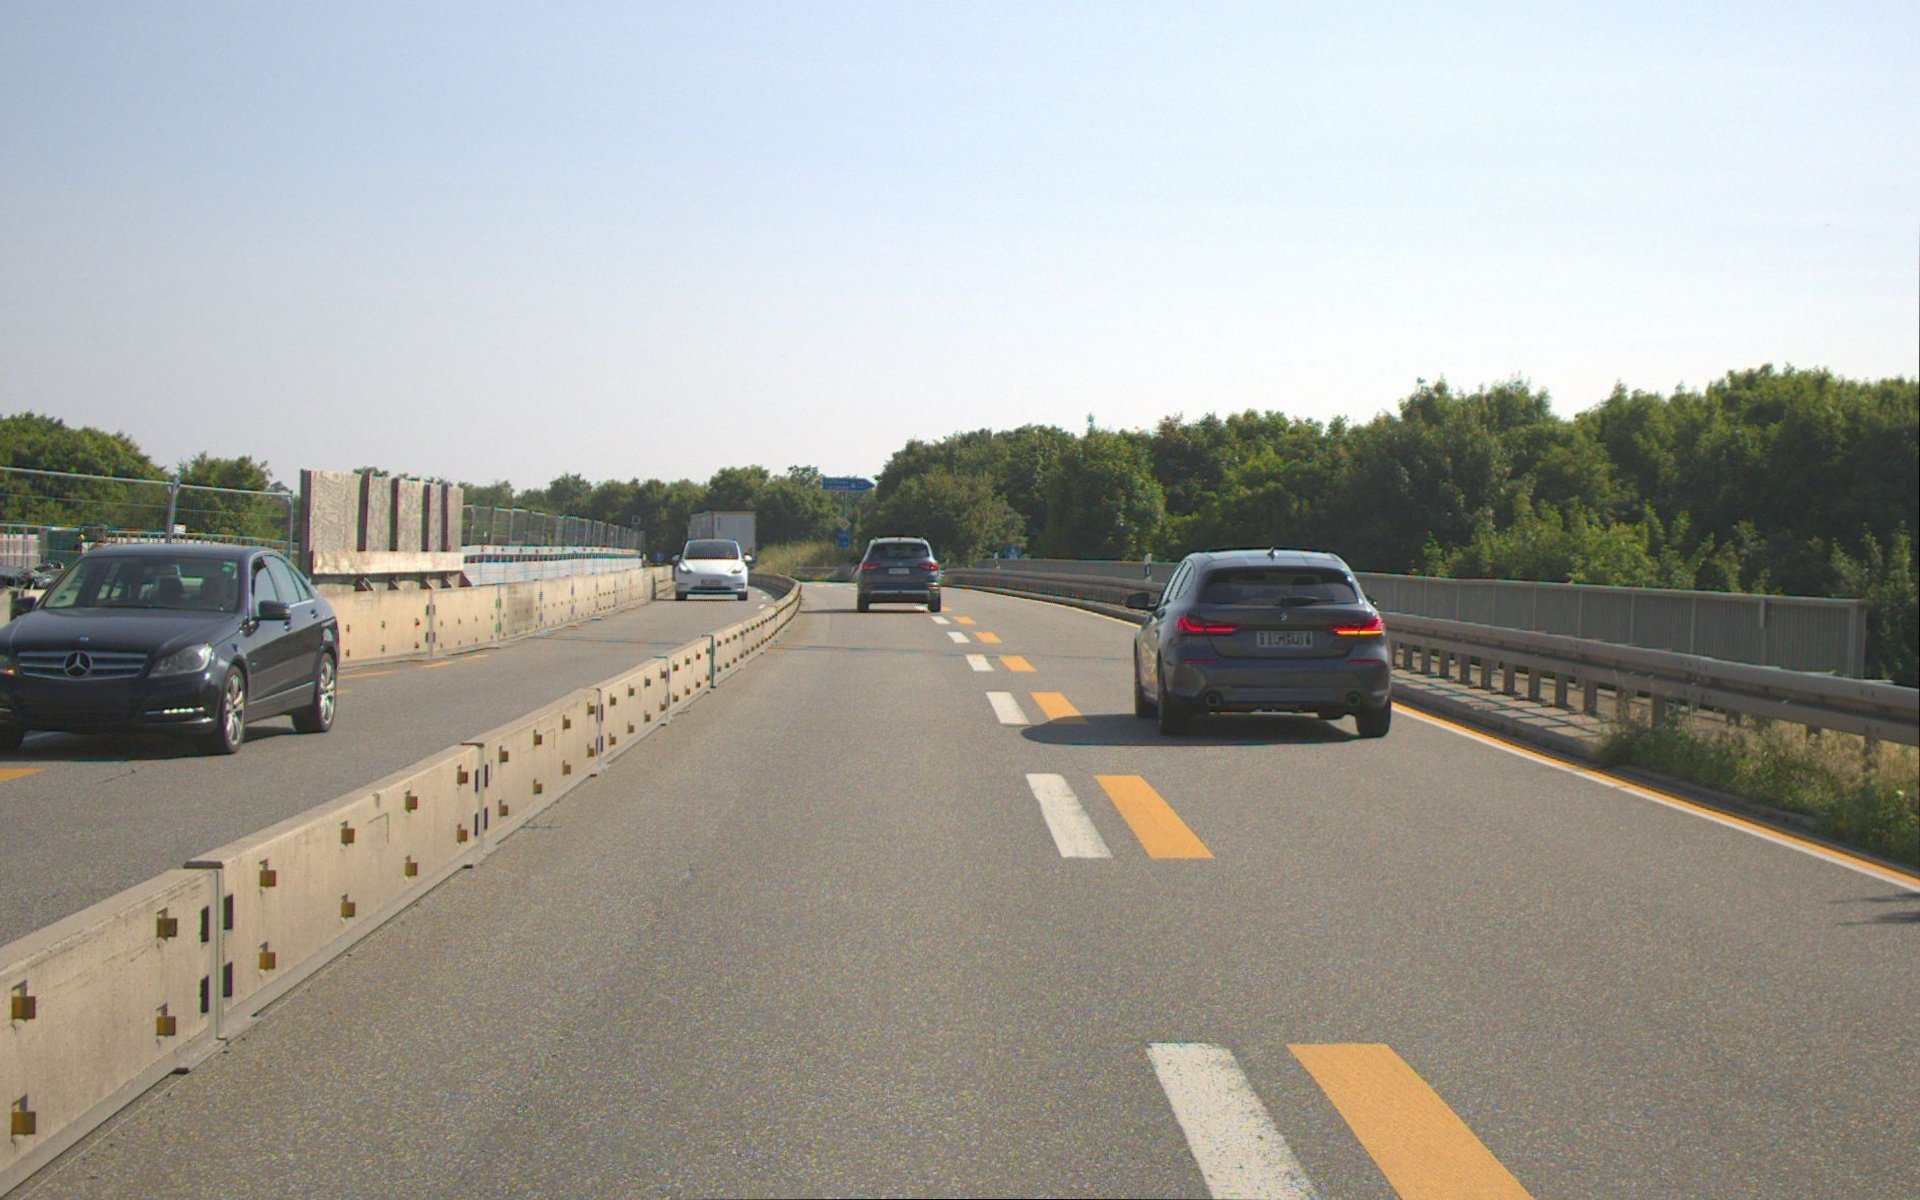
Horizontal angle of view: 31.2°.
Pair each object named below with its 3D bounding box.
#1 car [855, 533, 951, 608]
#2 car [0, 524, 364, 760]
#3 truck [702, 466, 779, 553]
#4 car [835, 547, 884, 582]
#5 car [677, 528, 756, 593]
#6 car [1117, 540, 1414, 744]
[{"bbox_3d":[-1.212,-0.665,74.807,1.993,1.561,4.000,1,1,0],"label":"car"},{"bbox_3d":[-5.680,0.223,24.880,1.859,1.468,4.684,2,1,0],"label":"car"},{"bbox_3d":[-12.970,-5.346,204.622,3.761,4.894,14.138,2,1,-1],"label":"truck"},{"bbox_3d":[-5.024,-1.785,171.870,1.993,1.682,4.001,1,1,-8],"label":"car"},{"bbox_3d":[-6.540,-1.071,92.604,1.981,1.645,4.549,2,1,-3],"label":"car"},{"bbox_3d":[2.364,0.278,27.606,1.920,1.488,4.000,1,1,-1],"label":"car"}]
